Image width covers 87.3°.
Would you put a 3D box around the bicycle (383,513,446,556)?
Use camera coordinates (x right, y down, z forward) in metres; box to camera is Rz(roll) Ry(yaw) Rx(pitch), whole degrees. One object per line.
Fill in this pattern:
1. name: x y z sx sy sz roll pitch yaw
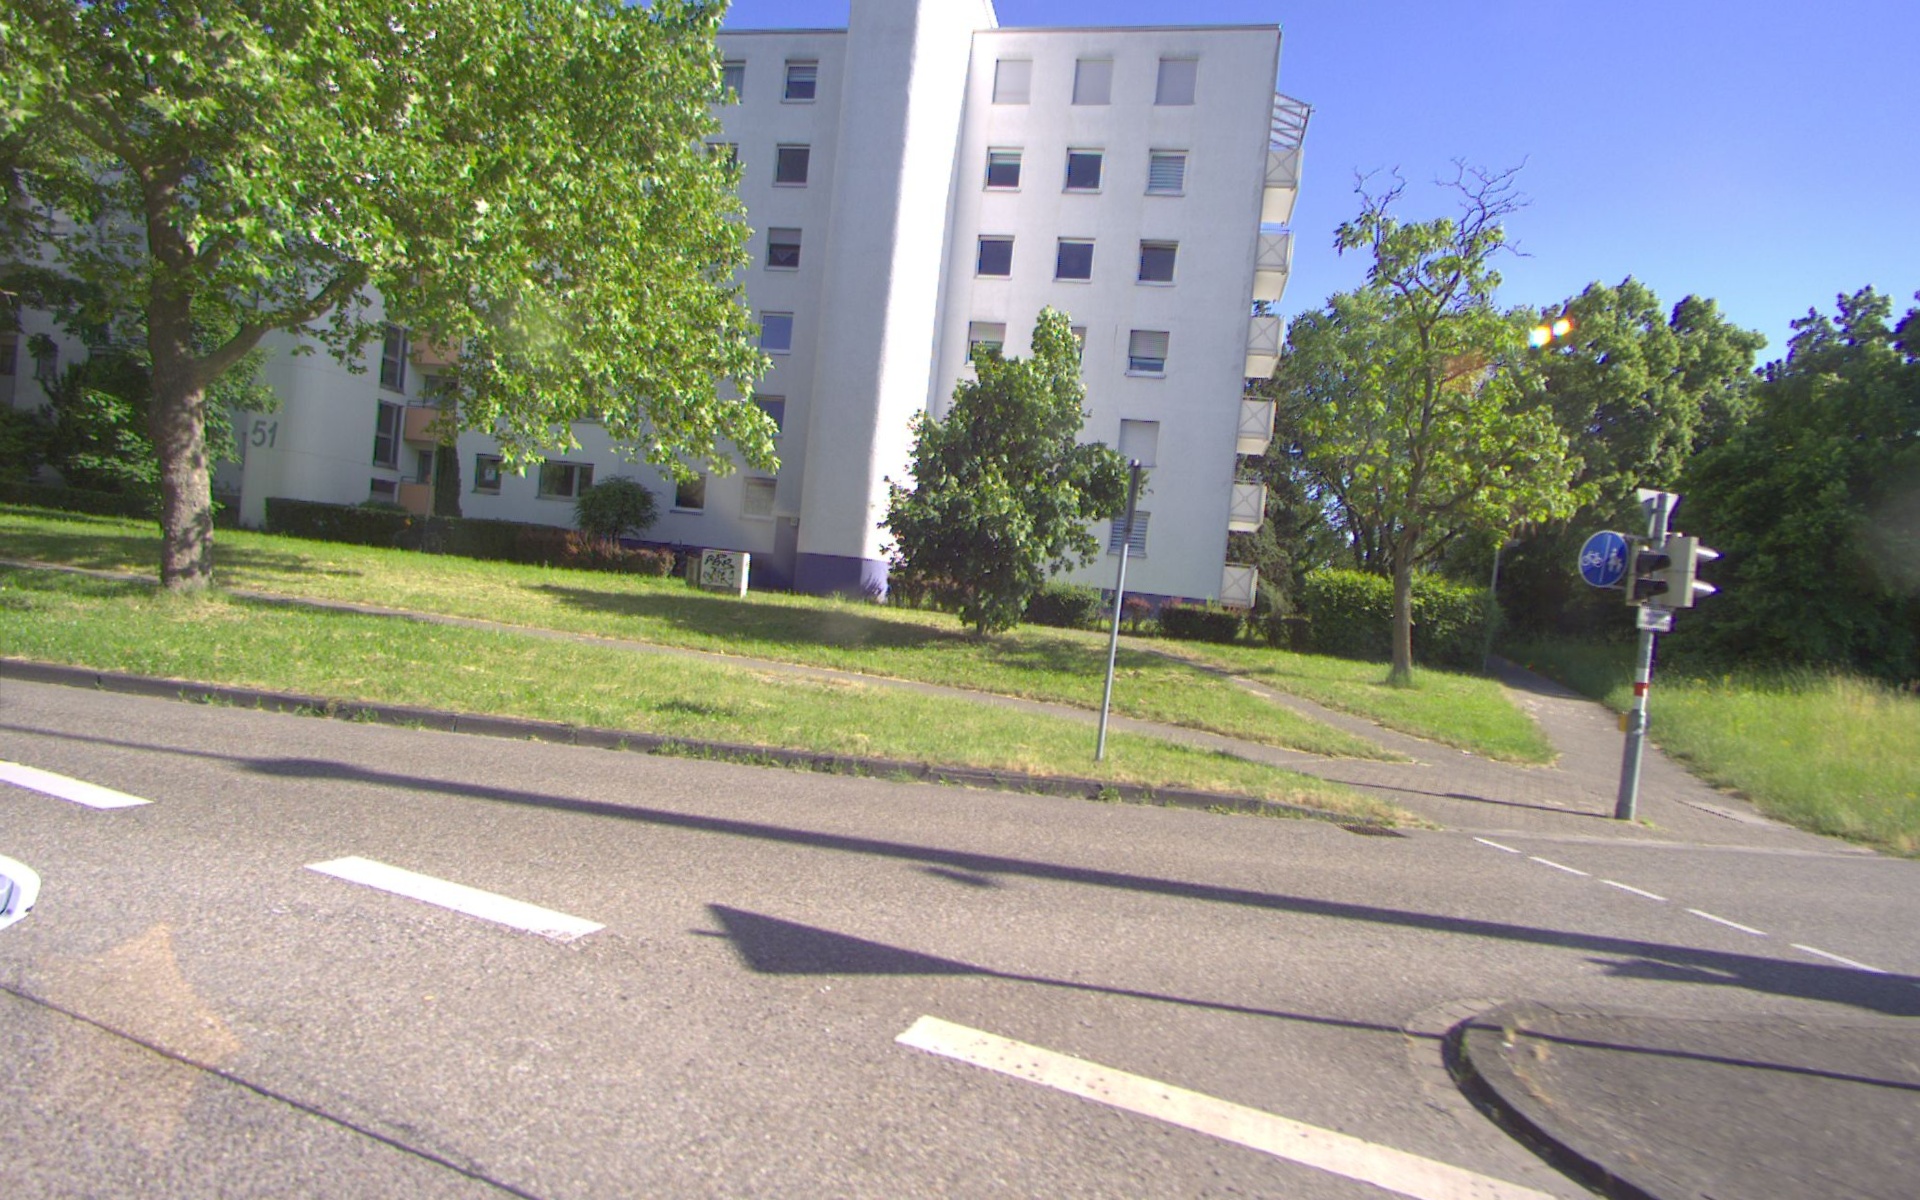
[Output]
1. bicycle: -16.607 -2.002 30.625 1.766 1.124 0.499 7 6 12
